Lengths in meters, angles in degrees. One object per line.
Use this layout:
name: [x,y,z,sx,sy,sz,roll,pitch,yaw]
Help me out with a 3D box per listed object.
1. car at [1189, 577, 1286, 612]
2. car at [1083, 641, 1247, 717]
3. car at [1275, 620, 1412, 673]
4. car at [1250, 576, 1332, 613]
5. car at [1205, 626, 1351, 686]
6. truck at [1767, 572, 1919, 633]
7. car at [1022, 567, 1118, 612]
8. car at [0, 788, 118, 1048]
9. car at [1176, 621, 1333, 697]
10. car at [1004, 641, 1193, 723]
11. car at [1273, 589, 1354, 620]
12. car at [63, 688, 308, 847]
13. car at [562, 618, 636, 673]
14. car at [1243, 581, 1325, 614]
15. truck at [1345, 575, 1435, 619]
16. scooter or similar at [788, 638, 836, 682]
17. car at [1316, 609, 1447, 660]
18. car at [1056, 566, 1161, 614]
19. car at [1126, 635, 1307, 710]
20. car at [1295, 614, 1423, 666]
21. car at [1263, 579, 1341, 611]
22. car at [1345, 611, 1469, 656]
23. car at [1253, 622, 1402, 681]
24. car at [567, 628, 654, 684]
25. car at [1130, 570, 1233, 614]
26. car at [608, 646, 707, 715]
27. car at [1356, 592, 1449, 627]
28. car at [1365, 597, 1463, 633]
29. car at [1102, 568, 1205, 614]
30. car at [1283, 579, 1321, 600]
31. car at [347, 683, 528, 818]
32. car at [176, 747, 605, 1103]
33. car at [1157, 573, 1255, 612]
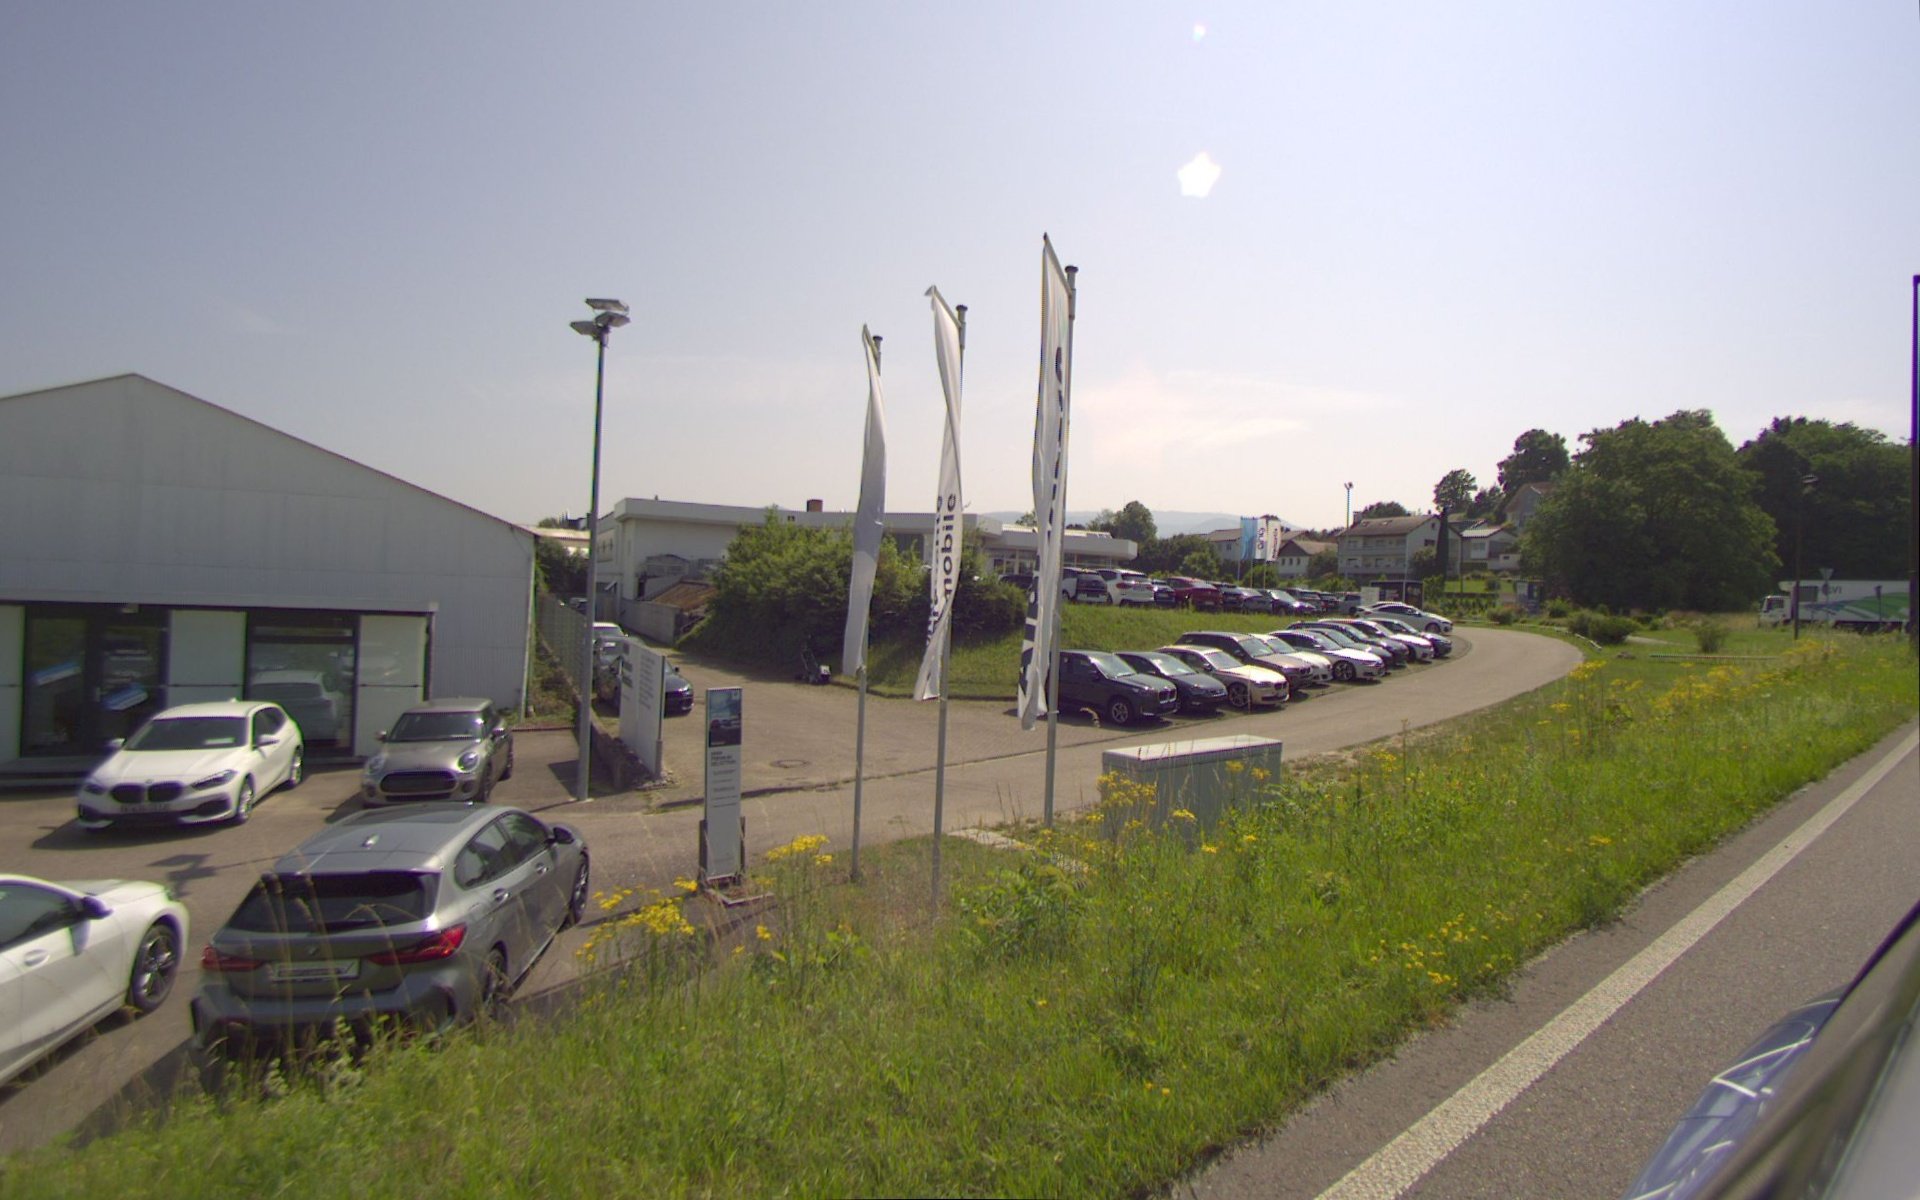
car: [13.093,-0.285,48.004,1.909,1.518,4.476,2,1,-27]
car: [5.553,2.083,27.657,3.983,1.571,1.972,2,4,40]
car: [13.941,1.638,36.914,4.251,1.429,1.893,5,6,44]
car: [18.042,-0.338,55.310,1.909,1.771,4.017,2,2,-27]
car: [10.451,1.791,33.457,4.250,1.483,1.844,4,5,44]
truck: [58.870,0.152,66.475,8.966,3.877,2.863,0,0,36]
car: [4.119,-0.430,38.344,1.732,1.552,3.894,1,1,-27]
car: [-7.303,2.318,6.045,1.715,1.542,4.180,0,0,-11]
car: [9.074,1.754,31.443,4.251,1.769,1.969,4,5,44]
car: [3.548,2.045,26.370,4.475,1.660,2.117,1,2,40]
car: [21.150,0.258,60.727,1.910,1.518,4.436,0,4,-27]
car: [-11.068,2.280,14.805,1.714,1.542,3.979,0,1,-20]
car: [-12.968,1.555,36.195,1.883,1.752,4.323,0,0,-28]
car: [16.657,-0.152,52.180,1.908,1.545,4.018,2,1,-21]
truck: [27.840,-0.252,65.753,1.908,2.698,5.640,2,1,-21]
scooter or similar: [-4.921,1.966,33.606,0.612,1.330,1.978,0,0,-41]
car: [16.916,1.332,40.700,4.546,1.584,1.899,4,5,36]
car: [5.795,-0.424,40.034,1.801,1.769,4.476,1,1,-27]
car: [7.391,2.025,29.485,4.769,1.526,1.969,4,5,44]
car: [15.314,1.499,38.948,4.237,1.500,1.899,4,5,36]
car: [19.731,-0.315,58.525,1.909,1.518,4.017,3,2,-27]
car: [18.716,1.345,42.428,4.536,1.438,1.765,3,5,31]
car: [12.531,1.708,34.618,4.410,1.482,1.898,4,5,36]
car: [-11.140,1.704,32.084,1.943,1.490,4.464,0,0,-28]
car: [9.501,-0.380,43.747,1.909,1.769,4.476,1,1,-27]
car: [-7.801,1.993,25.886,1.684,1.393,3.956,0,0,-28]
car: [24.649,0.510,56.505,4.616,1.589,1.754,5,2,24]
car: [24.022,0.753,53.564,4.539,1.590,1.750,3,2,30]
car: [7.934,-0.400,41.887,1.801,1.769,4.476,1,1,-27]
car: [27.313,-0.832,80.922,1.876,1.531,4.370,2,1,5]
car: [-8.207,2.278,16.242,1.715,1.542,3.811,0,0,-13]
car: [-4.262,2.314,8.398,1.656,1.542,4.178,0,0,-7]
car: [11.230,-0.374,46.519,1.909,1.655,4.476,1,1,-27]
